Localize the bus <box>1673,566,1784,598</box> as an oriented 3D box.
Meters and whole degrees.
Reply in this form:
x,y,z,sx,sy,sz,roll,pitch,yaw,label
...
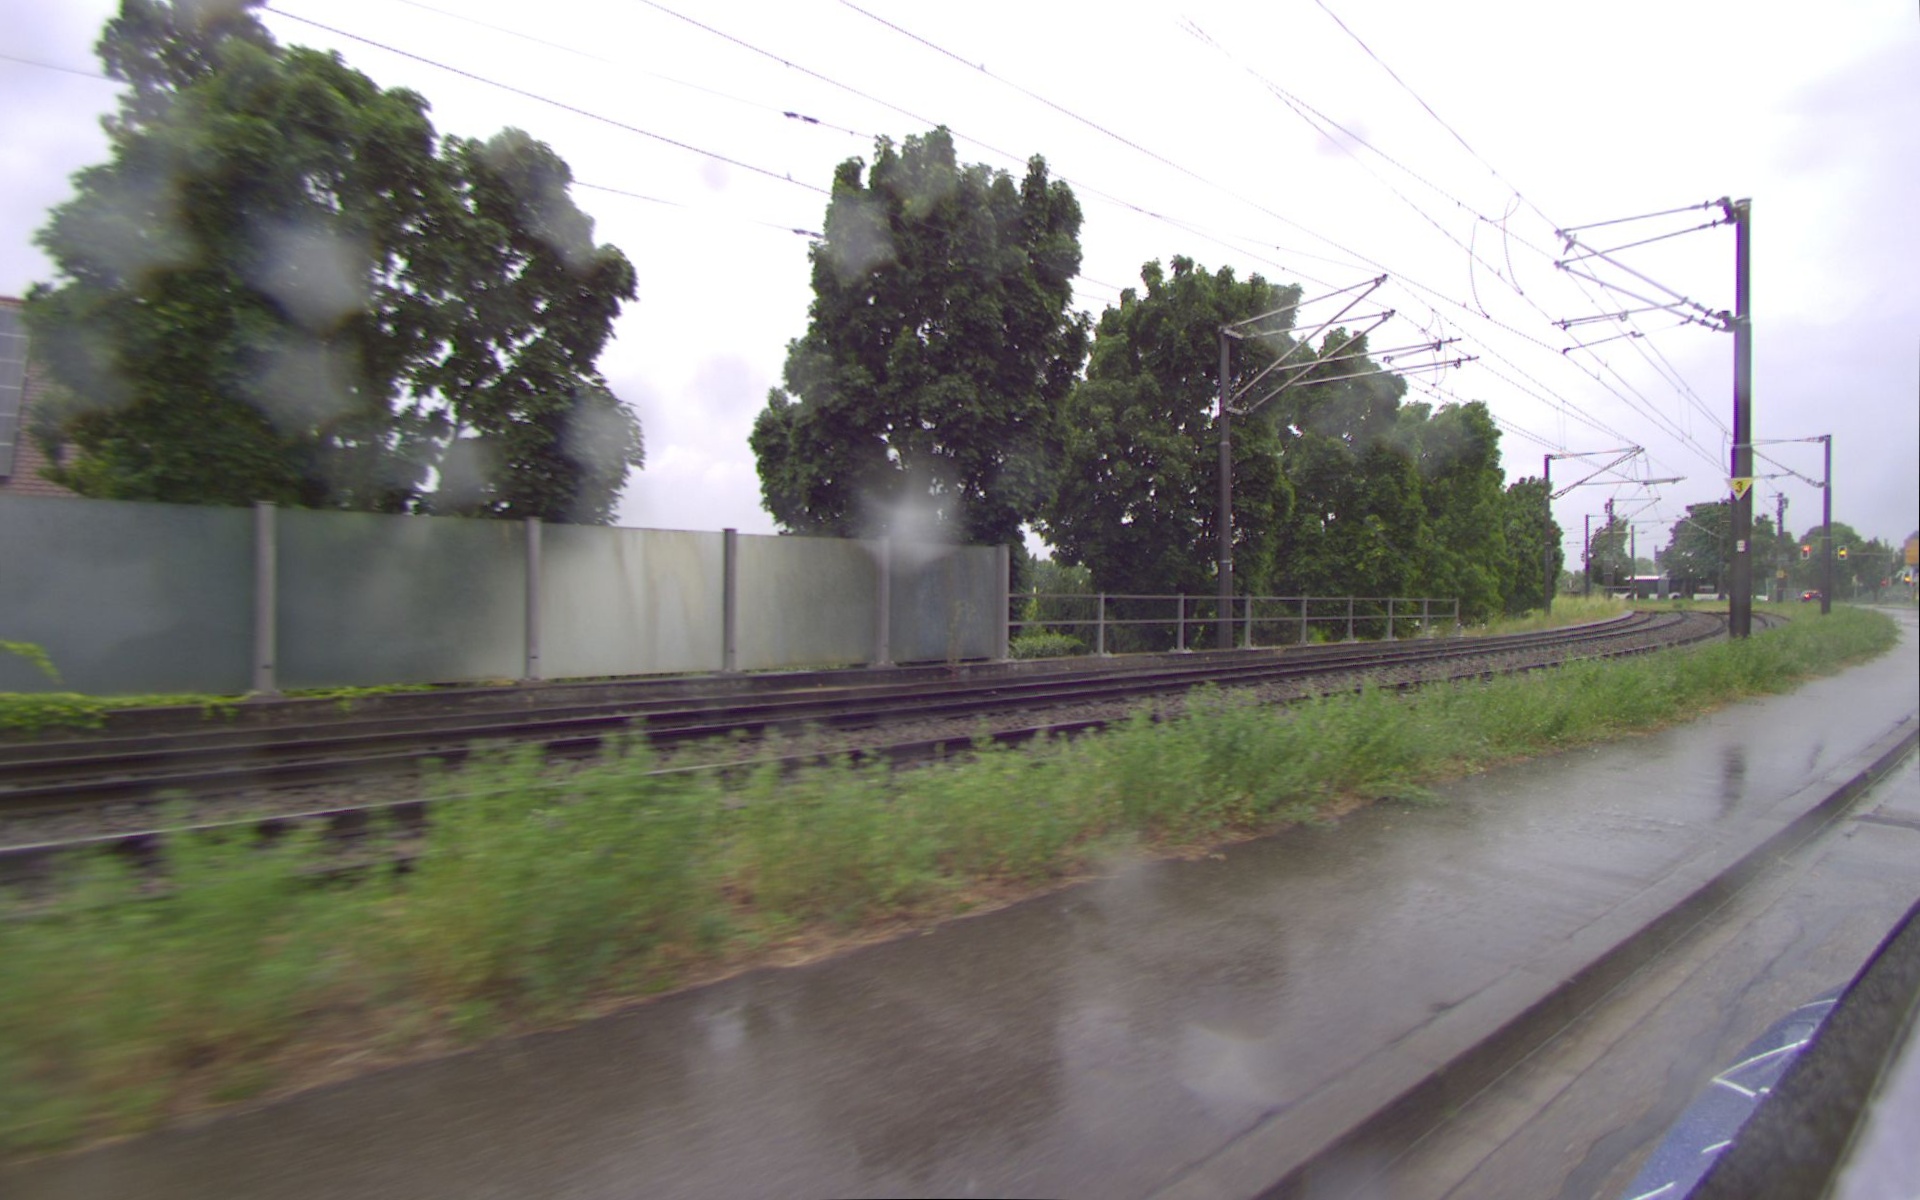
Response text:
x,y,z,sx,sy,sz,roll,pitch,yaw,label
77.666,-1.781,102.595,2.624,3.116,10.008,-1,1,-7,bus

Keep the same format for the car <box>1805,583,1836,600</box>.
x,y,z,sx,sy,sz,roll,pitch,yaw,label
86.027,-0.862,101.232,1.754,1.556,3.834,1,1,31,car

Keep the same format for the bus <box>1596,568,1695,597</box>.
x,y,z,sx,sy,sz,roll,pitch,yaw,label
75.964,-1.916,112.451,2.622,3.116,10.014,-1,1,-13,bus
